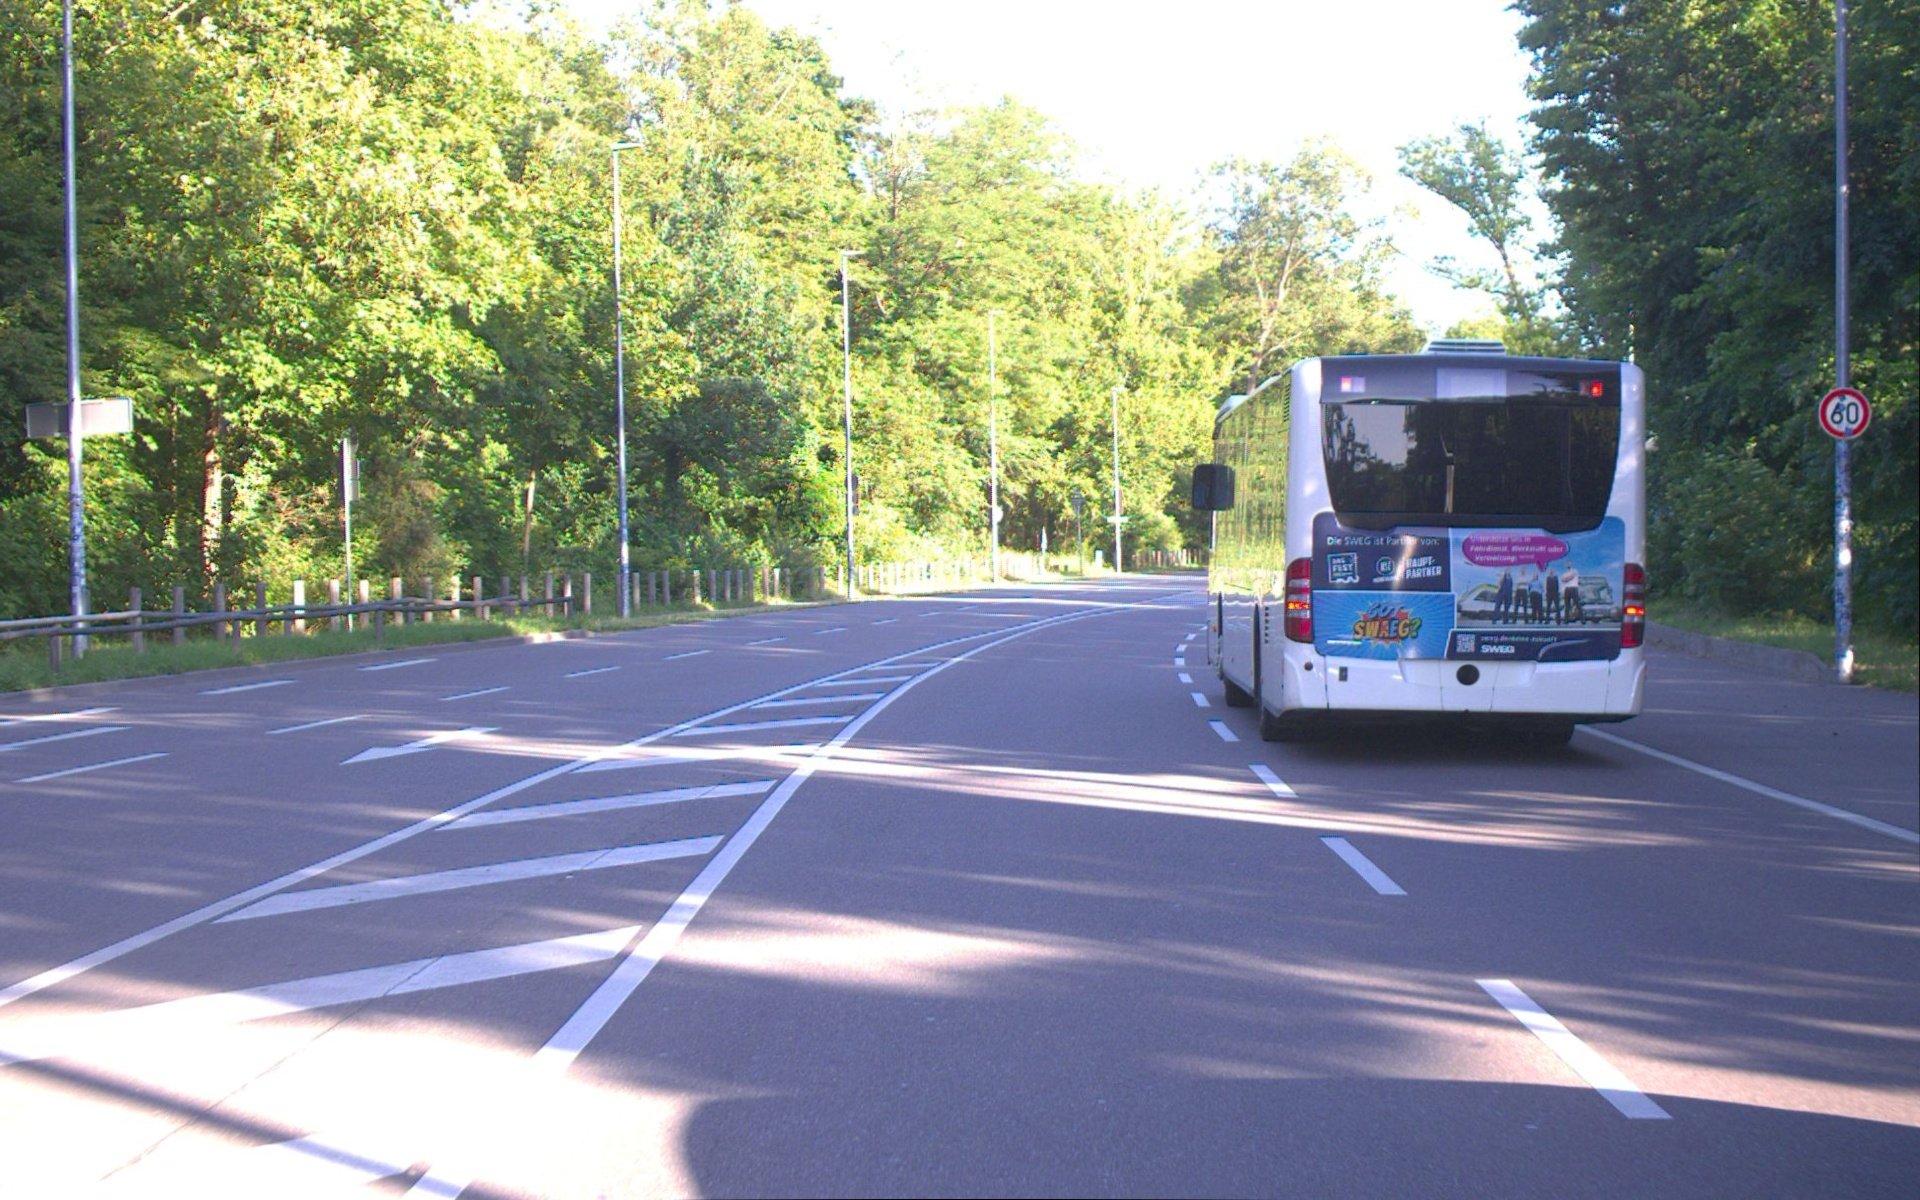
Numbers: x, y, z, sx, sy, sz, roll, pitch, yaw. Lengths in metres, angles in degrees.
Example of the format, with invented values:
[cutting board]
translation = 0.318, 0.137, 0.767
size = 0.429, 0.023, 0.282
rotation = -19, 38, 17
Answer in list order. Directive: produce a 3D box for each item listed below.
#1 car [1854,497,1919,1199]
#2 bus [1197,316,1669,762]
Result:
[car]
translation = 2.906, 0.638, 5.282
size = 1.893, 1.600, 4.544
rotation = 1, 1, 1
[bus]
translation = 3.659, -0.512, 29.622
size = 2.690, 3.032, 12.041
rotation = 1, 1, 2
